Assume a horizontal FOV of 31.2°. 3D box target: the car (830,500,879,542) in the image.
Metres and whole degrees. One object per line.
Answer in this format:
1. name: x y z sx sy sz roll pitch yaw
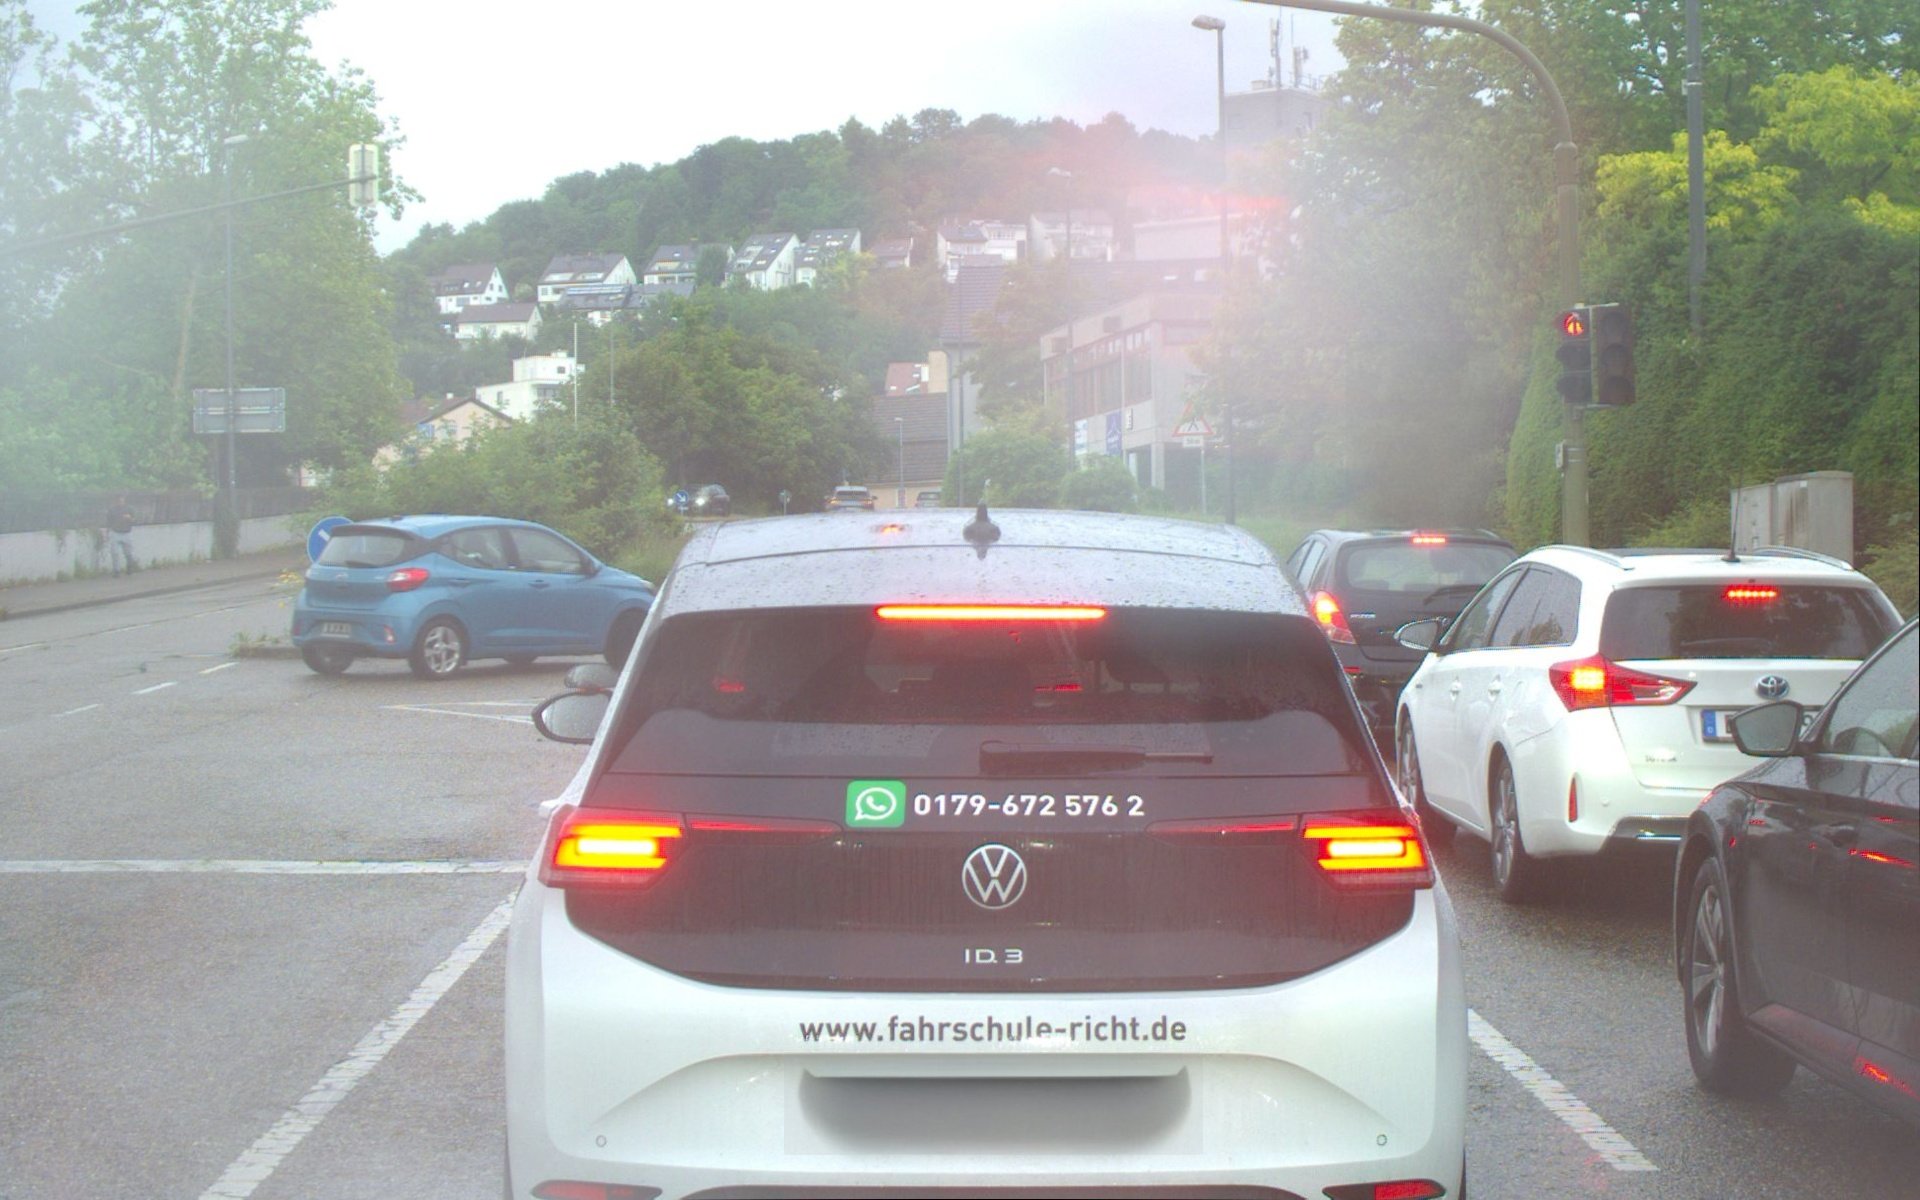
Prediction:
1. car: -4.167 -3.118 136.409 1.775 1.576 4.000 -2 1 0

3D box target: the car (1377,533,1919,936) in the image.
1. car: 3.042 0.469 14.952 1.837 1.461 4.117 1 1 -1

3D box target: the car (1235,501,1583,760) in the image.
1. car: 2.948 0.163 23.332 1.775 1.576 4.000 1 1 0

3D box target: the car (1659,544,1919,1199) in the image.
1. car: 2.870 0.647 7.472 1.838 1.461 4.350 1 1 1

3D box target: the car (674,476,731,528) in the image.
1. car: -10.490 -3.987 140.265 1.993 2.007 4.000 1 0 0

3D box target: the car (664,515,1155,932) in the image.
1. car: -0.237 0.421 15.196 1.837 1.549 4.175 1 1 -1

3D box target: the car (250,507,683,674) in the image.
1. car: -4.586 -0.120 32.329 1.765 1.413 3.740 0 2 42

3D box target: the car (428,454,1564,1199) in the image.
1. car: 0.007 0.536 7.950 1.837 1.623 4.616 1 1 -1

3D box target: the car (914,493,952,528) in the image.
1. car: -1.316 -4.363 167.904 1.775 1.576 4.000 -2 1 0

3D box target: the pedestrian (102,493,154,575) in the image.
1. pedestrian: -16.305 -1.285 67.385 0.760 1.562 0.825 -2 1 -1

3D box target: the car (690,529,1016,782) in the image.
1. car: -0.654 0.279 21.607 1.837 1.395 3.831 1 1 -1
